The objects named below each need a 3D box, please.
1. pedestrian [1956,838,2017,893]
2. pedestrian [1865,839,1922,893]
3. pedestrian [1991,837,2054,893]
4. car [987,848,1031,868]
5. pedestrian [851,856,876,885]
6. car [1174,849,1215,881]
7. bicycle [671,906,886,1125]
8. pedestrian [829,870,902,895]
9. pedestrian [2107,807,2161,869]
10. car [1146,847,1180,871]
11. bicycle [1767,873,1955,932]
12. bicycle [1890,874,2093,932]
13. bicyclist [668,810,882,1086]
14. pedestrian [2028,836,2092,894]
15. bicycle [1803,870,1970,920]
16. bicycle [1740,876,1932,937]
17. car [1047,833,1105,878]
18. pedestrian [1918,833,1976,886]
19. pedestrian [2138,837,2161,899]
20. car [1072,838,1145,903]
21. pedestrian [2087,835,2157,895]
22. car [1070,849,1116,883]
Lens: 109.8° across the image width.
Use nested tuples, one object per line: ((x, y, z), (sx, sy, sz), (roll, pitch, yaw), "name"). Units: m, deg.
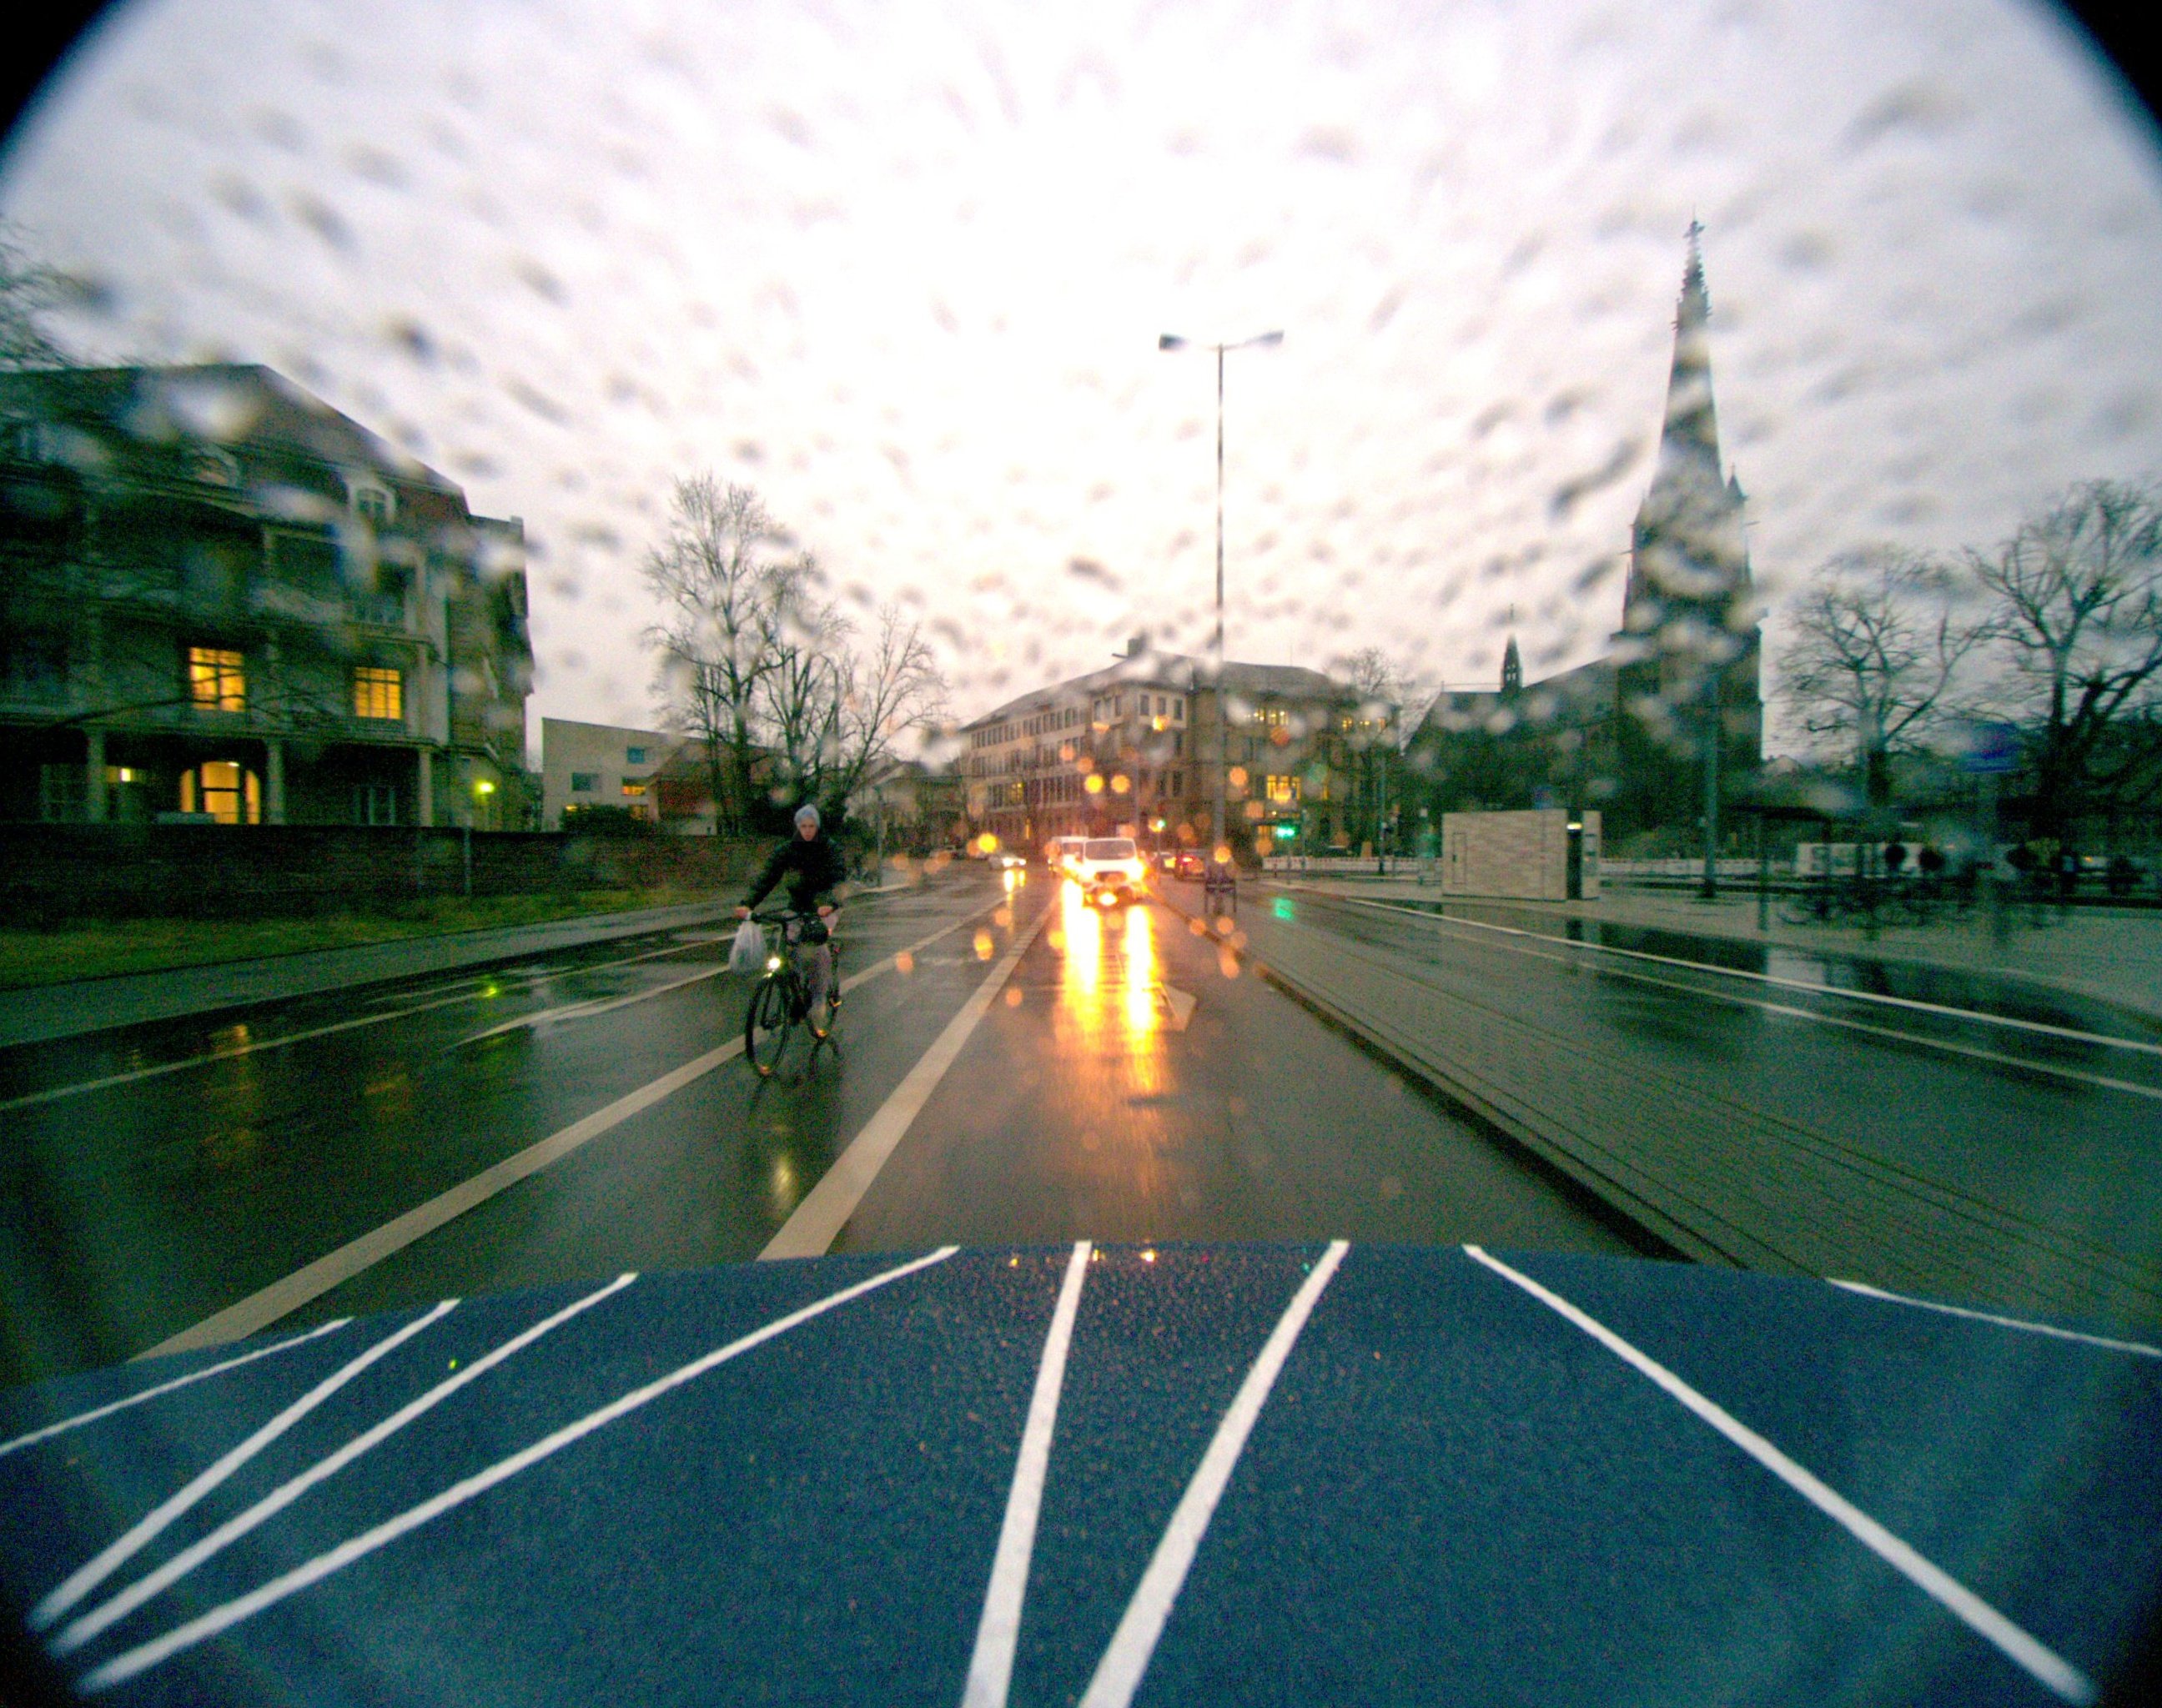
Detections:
((31.339, 0.390, 26.304), (1.034, 1.839, 0.848), (1, 1, 1), "pedestrian")
((29.509, 0.428, 27.619), (1.049, 1.839, 0.848), (-4, 1, 1), "pedestrian")
((31.445, 0.369, 25.392), (1.034, 1.839, 0.802), (1, 1, 1), "pedestrian")
((-5.893, 0.354, 62.157), (1.792, 1.536, 4.108), (-2, 0, -34), "car")
((-10.124, 0.755, 35.378), (0.984, 1.309, 0.813), (0, 1, -29), "pedestrian")
((5.818, 0.523, 39.406), (1.677, 1.586, 4.000), (-1, 1, 3), "car")
((-2.198, 1.110, 5.864), (0.794, 1.216, 1.903), (0, 3, 3), "bicycle")
((-10.041, 1.309, 35.397), (3.104, 0.925, 0.946), (-3, 1, -29), "pedestrian")
((31.902, -0.464, 22.842), (0.947, 1.820, 0.808), (1, 1, 0), "pedestrian")
((5.713, 0.339, 53.469), (1.678, 1.586, 3.998), (-1, 1, -4), "car")
((16.675, 0.999, 16.359), (0.648, 1.098, 2.744), (-3, 1, -31), "bicycle")
((19.658, 1.012, 16.513), (0.648, 1.098, 2.744), (-3, 1, -31), "bicycle")
((-2.240, 0.620, 5.777), (1.026, 1.873, 1.235), (0, 3, 4), "bicyclist")
((32.603, 0.359, 25.310), (1.034, 1.839, 0.848), (-2, 1, 1), "pedestrian")
((19.709, 0.960, 18.689), (0.648, 1.098, 2.744), (-3, 1, -33), "bicycle")
((15.606, 1.045, 15.827), (0.648, 1.098, 2.744), (-3, 1, -31), "bicycle")
((-0.421, 0.038, 46.658), (2.349, 2.503, 5.861), (-2, 1, -12), "car")
((30.993, 0.186, 27.206), (1.034, 1.839, 0.848), (1, 1, 1), "pedestrian")
((32.941, 0.401, 22.881), (1.034, 1.839, 0.848), (-2, 1, 1), "pedestrian")
((0.868, 0.475, 25.364), (2.137, 1.910, 5.016), (-2, 0, 1), "car")
((32.937, 0.329, 24.058), (1.034, 1.839, 0.848), (-2, 1, 1), "pedestrian")
((0.553, 0.553, 38.286), (1.755, 1.495, 4.314), (-2, 1, -6), "car")
